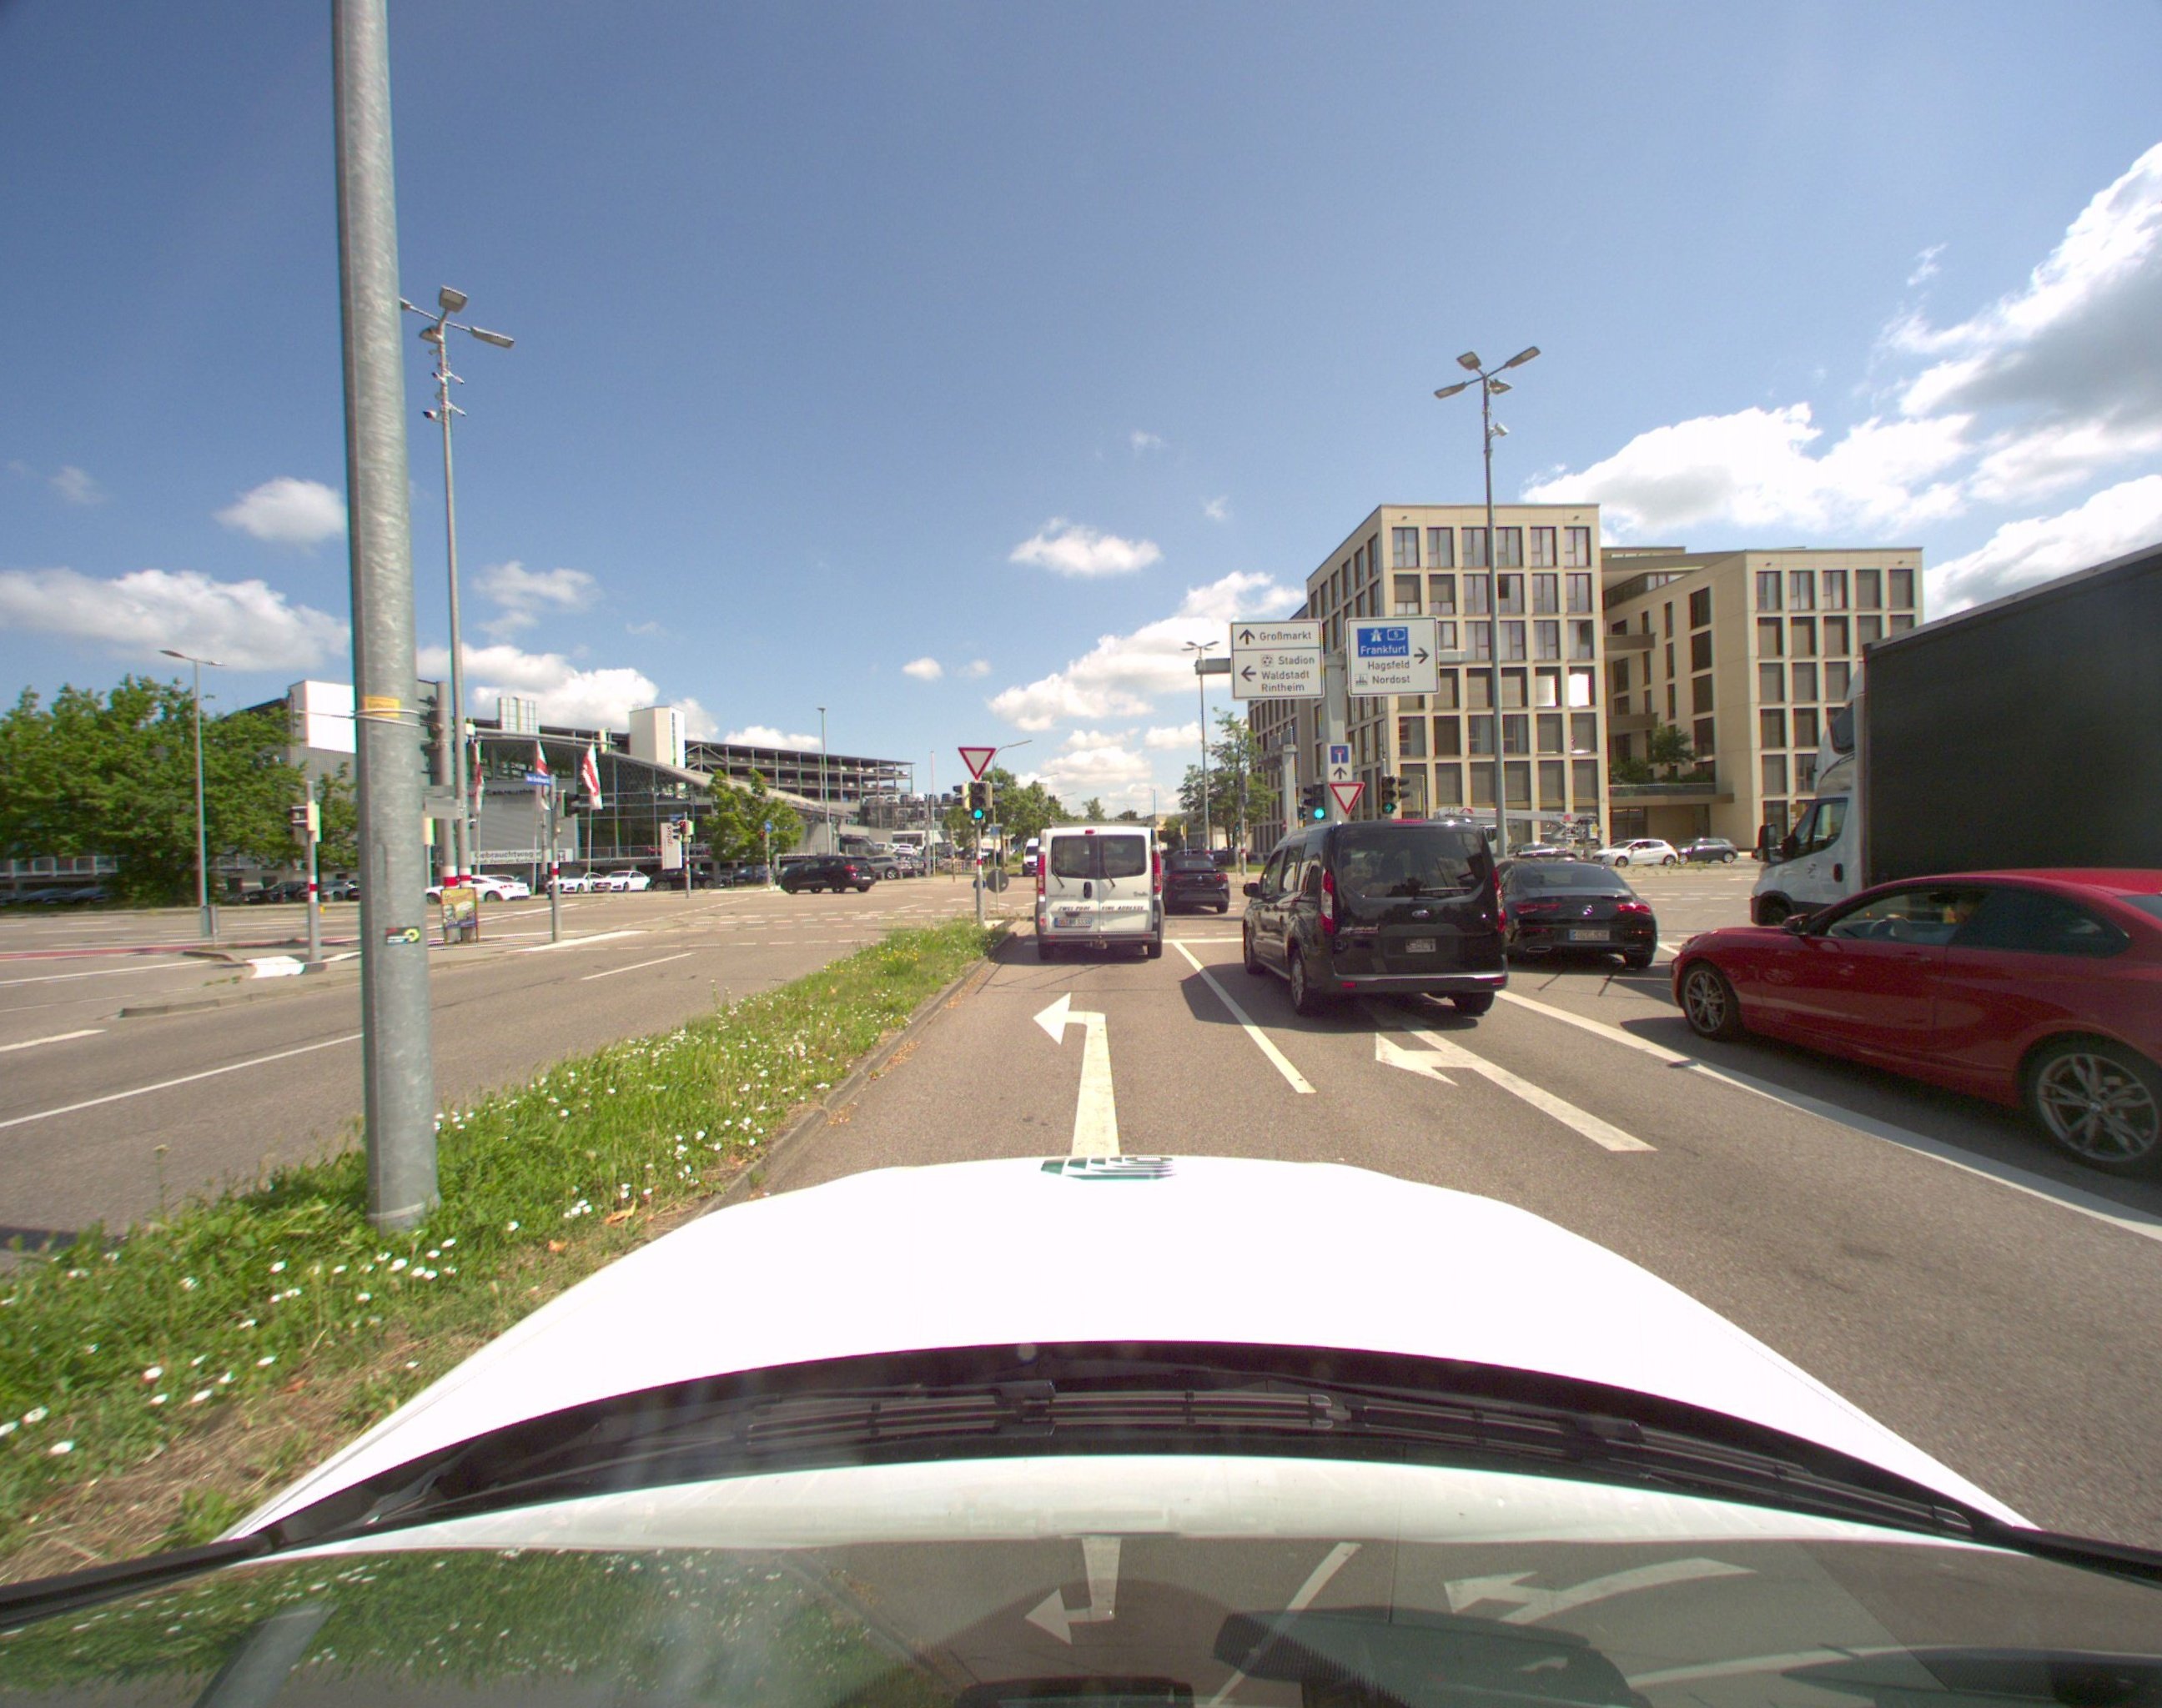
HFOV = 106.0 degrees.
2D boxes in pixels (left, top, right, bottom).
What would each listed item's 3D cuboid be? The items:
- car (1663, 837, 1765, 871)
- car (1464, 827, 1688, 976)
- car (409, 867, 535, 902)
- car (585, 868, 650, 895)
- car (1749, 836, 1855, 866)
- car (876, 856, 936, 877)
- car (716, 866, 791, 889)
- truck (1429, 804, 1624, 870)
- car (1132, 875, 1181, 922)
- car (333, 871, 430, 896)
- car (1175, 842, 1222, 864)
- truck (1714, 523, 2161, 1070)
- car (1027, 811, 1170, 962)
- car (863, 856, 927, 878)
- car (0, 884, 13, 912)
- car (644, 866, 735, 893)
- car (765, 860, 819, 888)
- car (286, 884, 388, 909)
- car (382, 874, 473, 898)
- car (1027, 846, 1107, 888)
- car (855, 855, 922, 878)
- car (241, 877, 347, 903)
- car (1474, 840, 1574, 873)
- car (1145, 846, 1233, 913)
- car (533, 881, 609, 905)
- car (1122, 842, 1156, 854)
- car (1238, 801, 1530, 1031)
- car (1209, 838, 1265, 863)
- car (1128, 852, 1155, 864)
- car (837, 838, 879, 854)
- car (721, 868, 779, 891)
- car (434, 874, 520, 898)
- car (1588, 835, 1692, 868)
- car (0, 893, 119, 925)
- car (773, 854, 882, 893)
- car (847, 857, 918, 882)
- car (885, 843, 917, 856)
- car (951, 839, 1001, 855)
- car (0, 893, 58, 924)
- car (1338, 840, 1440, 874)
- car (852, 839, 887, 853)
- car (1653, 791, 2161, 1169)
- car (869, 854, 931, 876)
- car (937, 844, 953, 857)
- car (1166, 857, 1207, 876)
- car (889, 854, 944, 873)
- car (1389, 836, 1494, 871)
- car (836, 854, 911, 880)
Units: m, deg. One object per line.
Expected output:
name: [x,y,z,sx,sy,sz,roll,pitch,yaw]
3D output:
car: [35.814,0.003,46.152,4.417,1.838,1.827,0,-1,-1]
car: [6.862,0.566,11.811,1.844,1.655,4.239,3,0,19]
car: [-26.651,1.316,35.746,3.981,1.442,1.857,0,-1,-6]
car: [-28.029,1.708,49.356,1.786,1.464,3.994,-2,-3,-3]
car: [40.825,-0.164,46.158,4.417,1.622,1.827,0,-1,-1]
car: [-14.636,1.033,68.307,4.563,1.678,1.906,-1,0,-2]
car: [-23.998,1.742,59.795,4.731,1.511,1.982,-2,-3,-4]
truck: [24.785,-0.929,45.497,9.738,3.555,2.669,0,-1,-6]
car: [2.947,1.718,32.453,1.767,1.629,4.002,-1,0,2]
car: [-41.516,1.786,48.478,1.897,1.384,4.583,0,-3,-3]
car: [10.984,-0.079,76.076,3.983,2.014,1.995,0,-1,-7]
truck: [9.787,-0.415,6.948,3.191,4.027,9.099,-1,-1,12]
car: [0.297,0.462,13.601,1.966,2.060,4.565,-1,0,1]
car: [-14.421,1.010,63.260,4.563,1.678,1.906,0,-1,-2]
car: [-66.226,2.620,47.493,1.897,1.678,4.584,0,-1,-3]
car: [-24.110,1.595,50.281,4.731,1.464,1.793,-2,-3,-4]
car: [-17.802,1.207,50.362,1.897,1.678,4.584,0,-1,-3]
car: [-43.908,2.554,48.214,1.897,1.405,4.583,0,-4,-3]
car: [-39.017,1.940,48.793,1.897,1.298,4.583,0,-4,-3]
car: [-0.630,0.522,33.033,1.780,1.618,3.966,0,-1,-25]
car: [-14.270,0.914,60.590,4.563,1.678,1.906,0,-1,-2]
car: [-46.274,2.108,48.023,1.897,1.405,4.584,0,-2,-3]
car: [22.725,0.137,41.904,4.184,1.627,1.828,0,-1,0]
car: [2.834,0.633,22.191,1.769,1.629,3.998,-1,0,-1]
car: [-30.736,2.325,49.286,1.897,1.297,4.584,0,-1,-3]
car: [10.855,-1.132,152.562,6.322,2.014,2.572,0,-1,-1]
car: [2.926,0.535,8.848,1.816,1.905,4.002,-1,0,2]
car: [12.598,-0.286,65.852,3.983,2.014,1.995,0,-1,-7]
car: [9.475,0.605,127.641,3.978,1.750,1.998,0,-1,-3]
car: [-25.679,-0.951,93.936,4.433,1.801,1.762,0,-1,-5]
car: [-20.162,1.535,49.847,1.897,1.297,4.584,0,-1,-3]
car: [-36.129,1.869,48.871,1.897,1.297,4.584,0,-1,-3]
car: [28.892,-0.103,42.180,4.187,1.627,1.826,0,-1,-2]
car: [-60.285,3.194,47.944,1.897,1.678,4.584,0,-1,-3]
car: [-10.898,0.825,35.048,4.220,1.618,1.786,-1,-1,18]
car: [-13.970,1.097,57.474,4.563,1.678,1.906,0,-1,-2]
car: [-23.451,-0.579,106.440,3.988,1.552,1.758,0,-1,-11]
car: [-13.647,-0.927,106.141,6.374,2.102,1.762,0,-1,-4]
car: [-63.433,3.195,47.442,1.897,1.678,4.584,0,-1,-3]
car: [17.058,0.161,45.194,4.970,1.838,1.996,0,-1,-6]
car: [-25.669,-0.977,99.084,3.988,1.552,1.758,0,-1,-11]
car: [5.828,0.577,5.106,1.849,1.655,4.226,-1,-1,6]
car: [-14.571,0.862,65.747,4.563,1.678,1.906,-1,0,-2]
car: [-16.559,-0.396,99.209,1.558,1.552,3.597,0,-1,-4]
car: [11.422,1.400,88.225,3.983,2.014,1.995,0,-1,-7]
car: [-14.699,0.847,73.089,4.563,1.678,1.906,0,-1,-2]
car: [17.042,-0.025,38.614,4.193,1.627,1.824,0,-1,-6]
car: [-13.902,0.873,54.771,4.563,1.678,1.906,0,-1,-2]
